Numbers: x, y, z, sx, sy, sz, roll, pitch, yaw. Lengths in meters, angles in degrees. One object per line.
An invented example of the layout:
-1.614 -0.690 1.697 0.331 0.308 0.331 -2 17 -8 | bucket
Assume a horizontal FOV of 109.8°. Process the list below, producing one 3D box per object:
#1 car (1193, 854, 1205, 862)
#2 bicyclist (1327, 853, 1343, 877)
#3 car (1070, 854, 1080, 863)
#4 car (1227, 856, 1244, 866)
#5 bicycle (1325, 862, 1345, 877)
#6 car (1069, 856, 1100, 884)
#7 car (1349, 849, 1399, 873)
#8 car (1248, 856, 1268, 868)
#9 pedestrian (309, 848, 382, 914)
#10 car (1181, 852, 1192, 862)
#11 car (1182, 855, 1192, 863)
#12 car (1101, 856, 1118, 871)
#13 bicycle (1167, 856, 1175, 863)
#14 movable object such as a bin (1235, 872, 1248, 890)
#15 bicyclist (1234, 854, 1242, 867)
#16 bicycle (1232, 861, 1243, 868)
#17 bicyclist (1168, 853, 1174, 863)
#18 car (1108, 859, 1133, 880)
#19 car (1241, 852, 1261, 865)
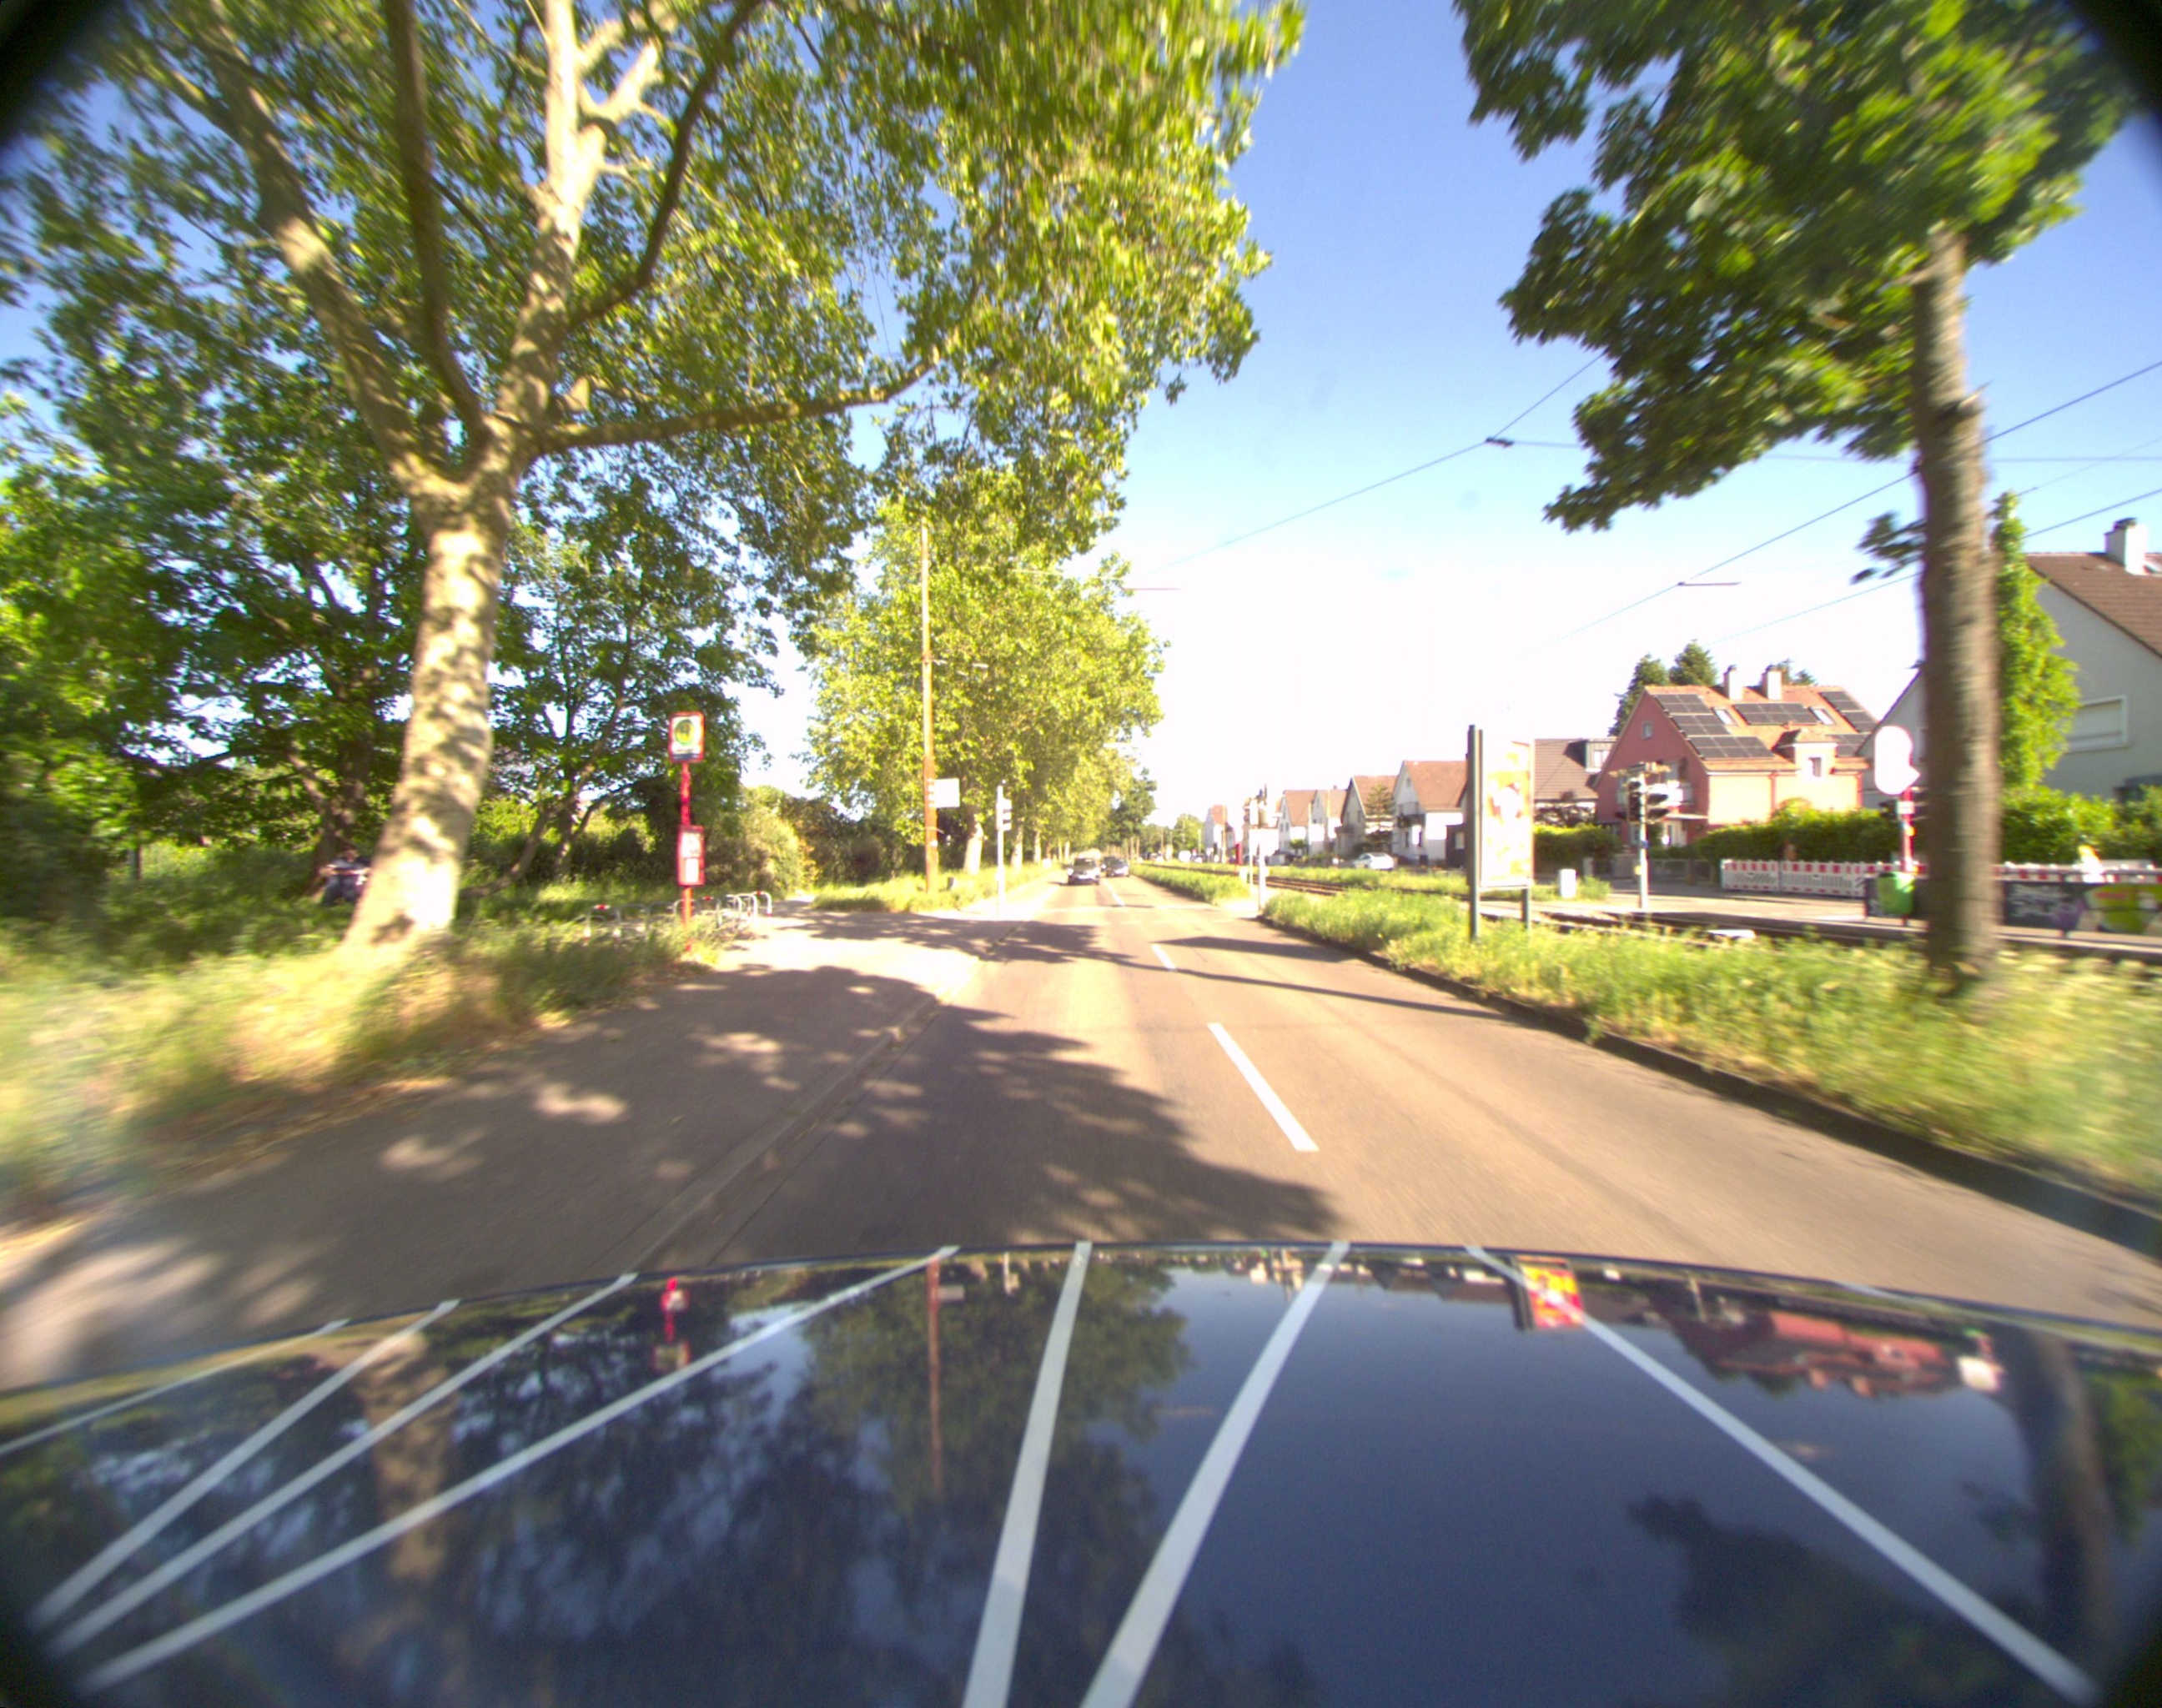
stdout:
23.495 0.853 151.774 1.791 1.497 4.000 -2 0 1 | car
20.160 0.843 60.375 0.854 1.876 1.072 -2 1 1 | bicyclist
-1.013 0.728 128.267 1.692 1.499 3.582 -2 0 1 | car
23.134 1.010 113.816 1.756 1.373 3.823 -2 0 1 | car
20.202 1.237 60.444 0.854 1.128 2.309 -2 0 1 | bicycle
0.213 0.871 43.419 1.692 1.499 3.582 1 0 1 | car
22.274 0.502 57.933 1.998 1.668 4.839 -2 0 1 | car
22.595 1.023 97.219 1.738 1.481 3.756 -2 0 1 | car
-14.091 0.501 14.578 0.736 1.212 0.689 -2 1 -20 | pedestrian
23.639 0.620 170.447 2.132 2.210 4.001 -2 0 4 | car
23.151 1.085 165.482 1.791 1.497 4.001 -2 0 4 | car
3.060 0.982 81.450 1.692 1.499 3.582 -2 0 1 | car
21.700 1.306 182.852 1.354 1.486 4.000 -2 0 1 | bicycle
5.613 0.940 26.585 0.387 0.579 0.379 -2 1 9 | movable object such as a bin
20.300 0.896 98.536 0.853 1.664 0.837 -2 1 2 | bicyclist
20.308 1.367 98.591 0.854 0.945 2.309 -2 0 1 | bicycle
21.652 0.946 182.677 1.310 2.220 1.623 -2 1 1 | bicyclist
3.007 1.151 58.469 1.692 1.499 3.582 -2 0 1 | car
22.607 0.607 101.369 1.802 1.588 4.012 -2 0 1 | car
